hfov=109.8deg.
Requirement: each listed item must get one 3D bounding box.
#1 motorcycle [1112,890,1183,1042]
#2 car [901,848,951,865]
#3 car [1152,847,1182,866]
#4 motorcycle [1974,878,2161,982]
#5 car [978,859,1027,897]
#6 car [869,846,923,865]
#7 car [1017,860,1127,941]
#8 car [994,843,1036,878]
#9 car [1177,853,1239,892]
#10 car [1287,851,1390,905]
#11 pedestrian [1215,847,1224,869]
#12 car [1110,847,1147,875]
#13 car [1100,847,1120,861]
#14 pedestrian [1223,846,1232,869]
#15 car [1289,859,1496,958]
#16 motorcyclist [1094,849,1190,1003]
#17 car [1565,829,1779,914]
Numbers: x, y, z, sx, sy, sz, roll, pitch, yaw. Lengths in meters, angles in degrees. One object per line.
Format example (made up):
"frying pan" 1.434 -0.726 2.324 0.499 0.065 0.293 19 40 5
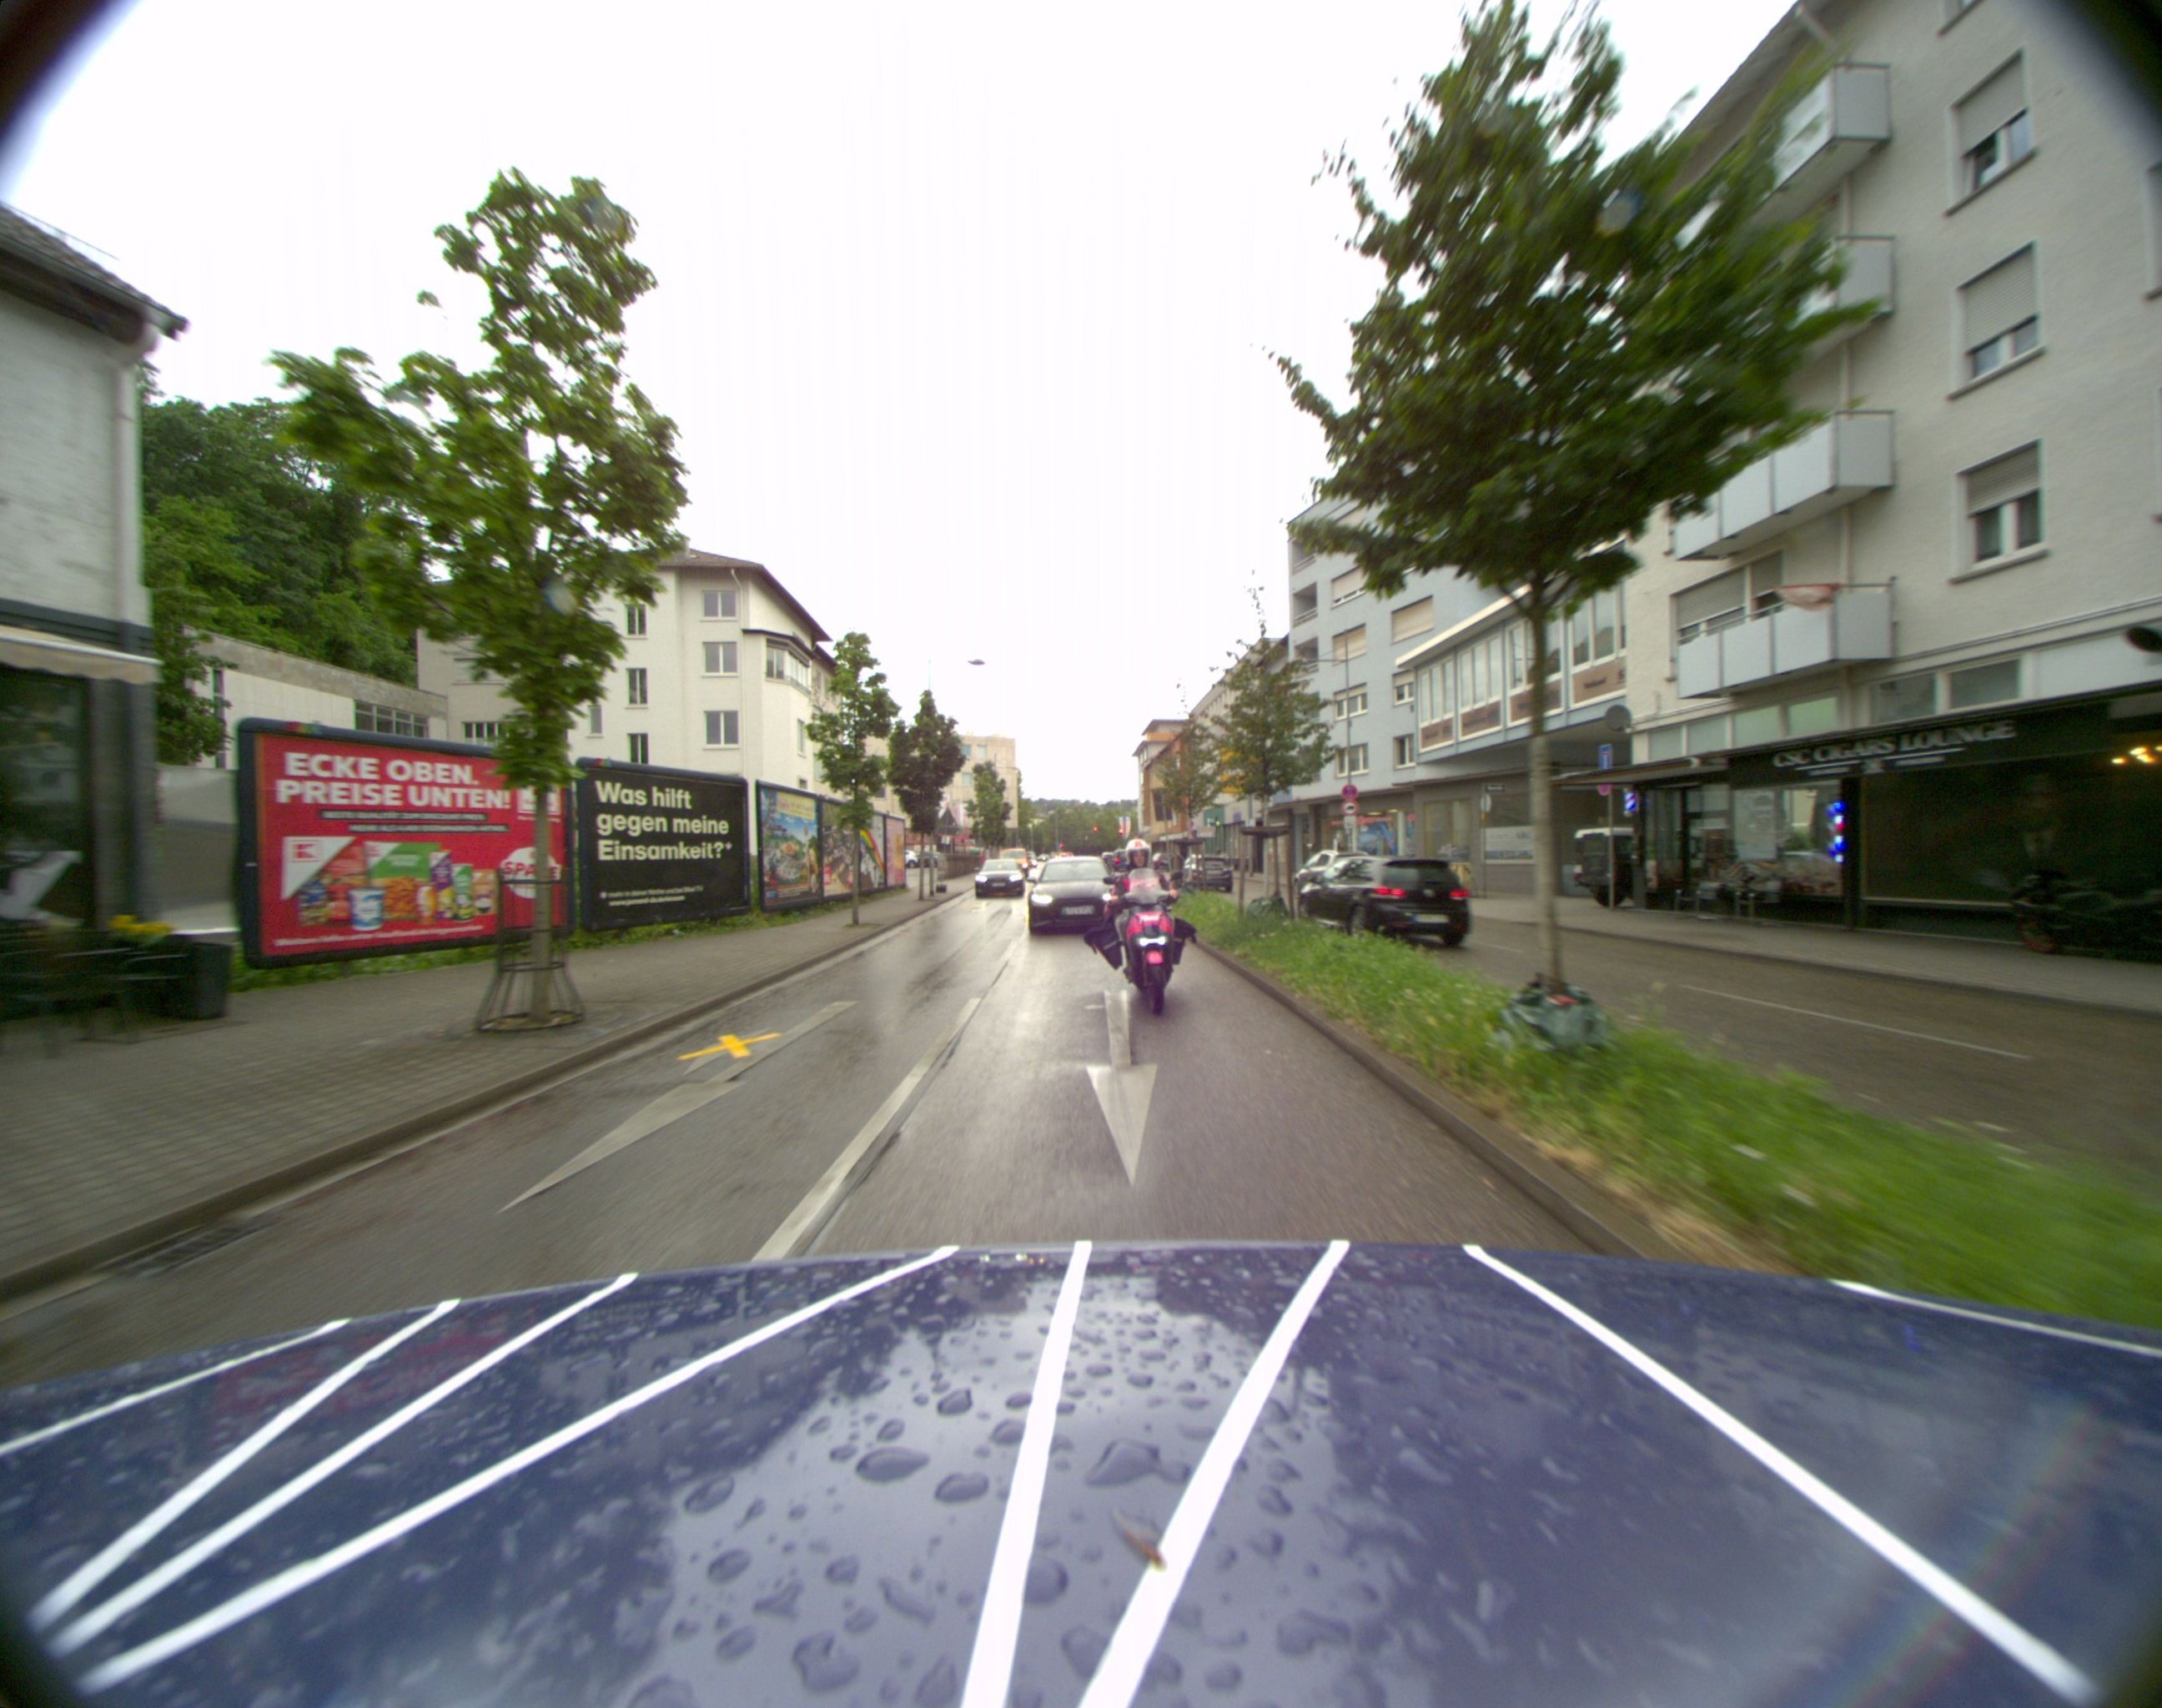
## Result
"motorcycle" 0.634 1.048 7.797 0.588 1.184 2.102 -2 2 2
"car" -14.639 0.241 71.860 4.253 1.566 1.941 0 -2 -38
"car" 7.058 0.191 62.733 1.852 1.473 4.200 1 1 -2
"motorcycle" 12.778 0.909 9.456 0.670 1.081 2.195 -3 1 -3
"car" -3.123 0.917 30.703 1.812 1.331 4.275 -1 1 -4
"car" -16.260 0.167 66.903 4.254 1.566 1.940 0 -2 -44
"car" -0.193 0.892 16.942 2.040 1.379 5.293 -1 1 -1
"car" -4.175 0.352 49.075 2.198 2.074 5.931 -1 1 -1
"car" 5.048 0.700 30.577 1.703 1.433 3.839 1 0 -2
"car" 8.109 0.703 24.354 1.777 1.579 4.025 1 0 -2
"pedestrian" 10.485 0.290 57.463 0.527 1.679 0.531 1 3 -1
"car" 2.941 0.420 47.984 1.778 1.634 3.838 1 0 -5
"car" 3.252 -0.058 85.530 1.909 1.471 3.998 1 1 -2
"pedestrian" 11.071 0.256 57.463 0.513 1.679 0.531 1 3 -1
"car" 5.258 0.836 13.503 1.822 1.433 4.156 1 0 -2
"motorcyclist" 0.617 0.714 7.955 0.917 1.485 0.864 -2 2 2
"car" 14.930 0.418 19.381 3.997 2.042 1.894 -1 1 -1
